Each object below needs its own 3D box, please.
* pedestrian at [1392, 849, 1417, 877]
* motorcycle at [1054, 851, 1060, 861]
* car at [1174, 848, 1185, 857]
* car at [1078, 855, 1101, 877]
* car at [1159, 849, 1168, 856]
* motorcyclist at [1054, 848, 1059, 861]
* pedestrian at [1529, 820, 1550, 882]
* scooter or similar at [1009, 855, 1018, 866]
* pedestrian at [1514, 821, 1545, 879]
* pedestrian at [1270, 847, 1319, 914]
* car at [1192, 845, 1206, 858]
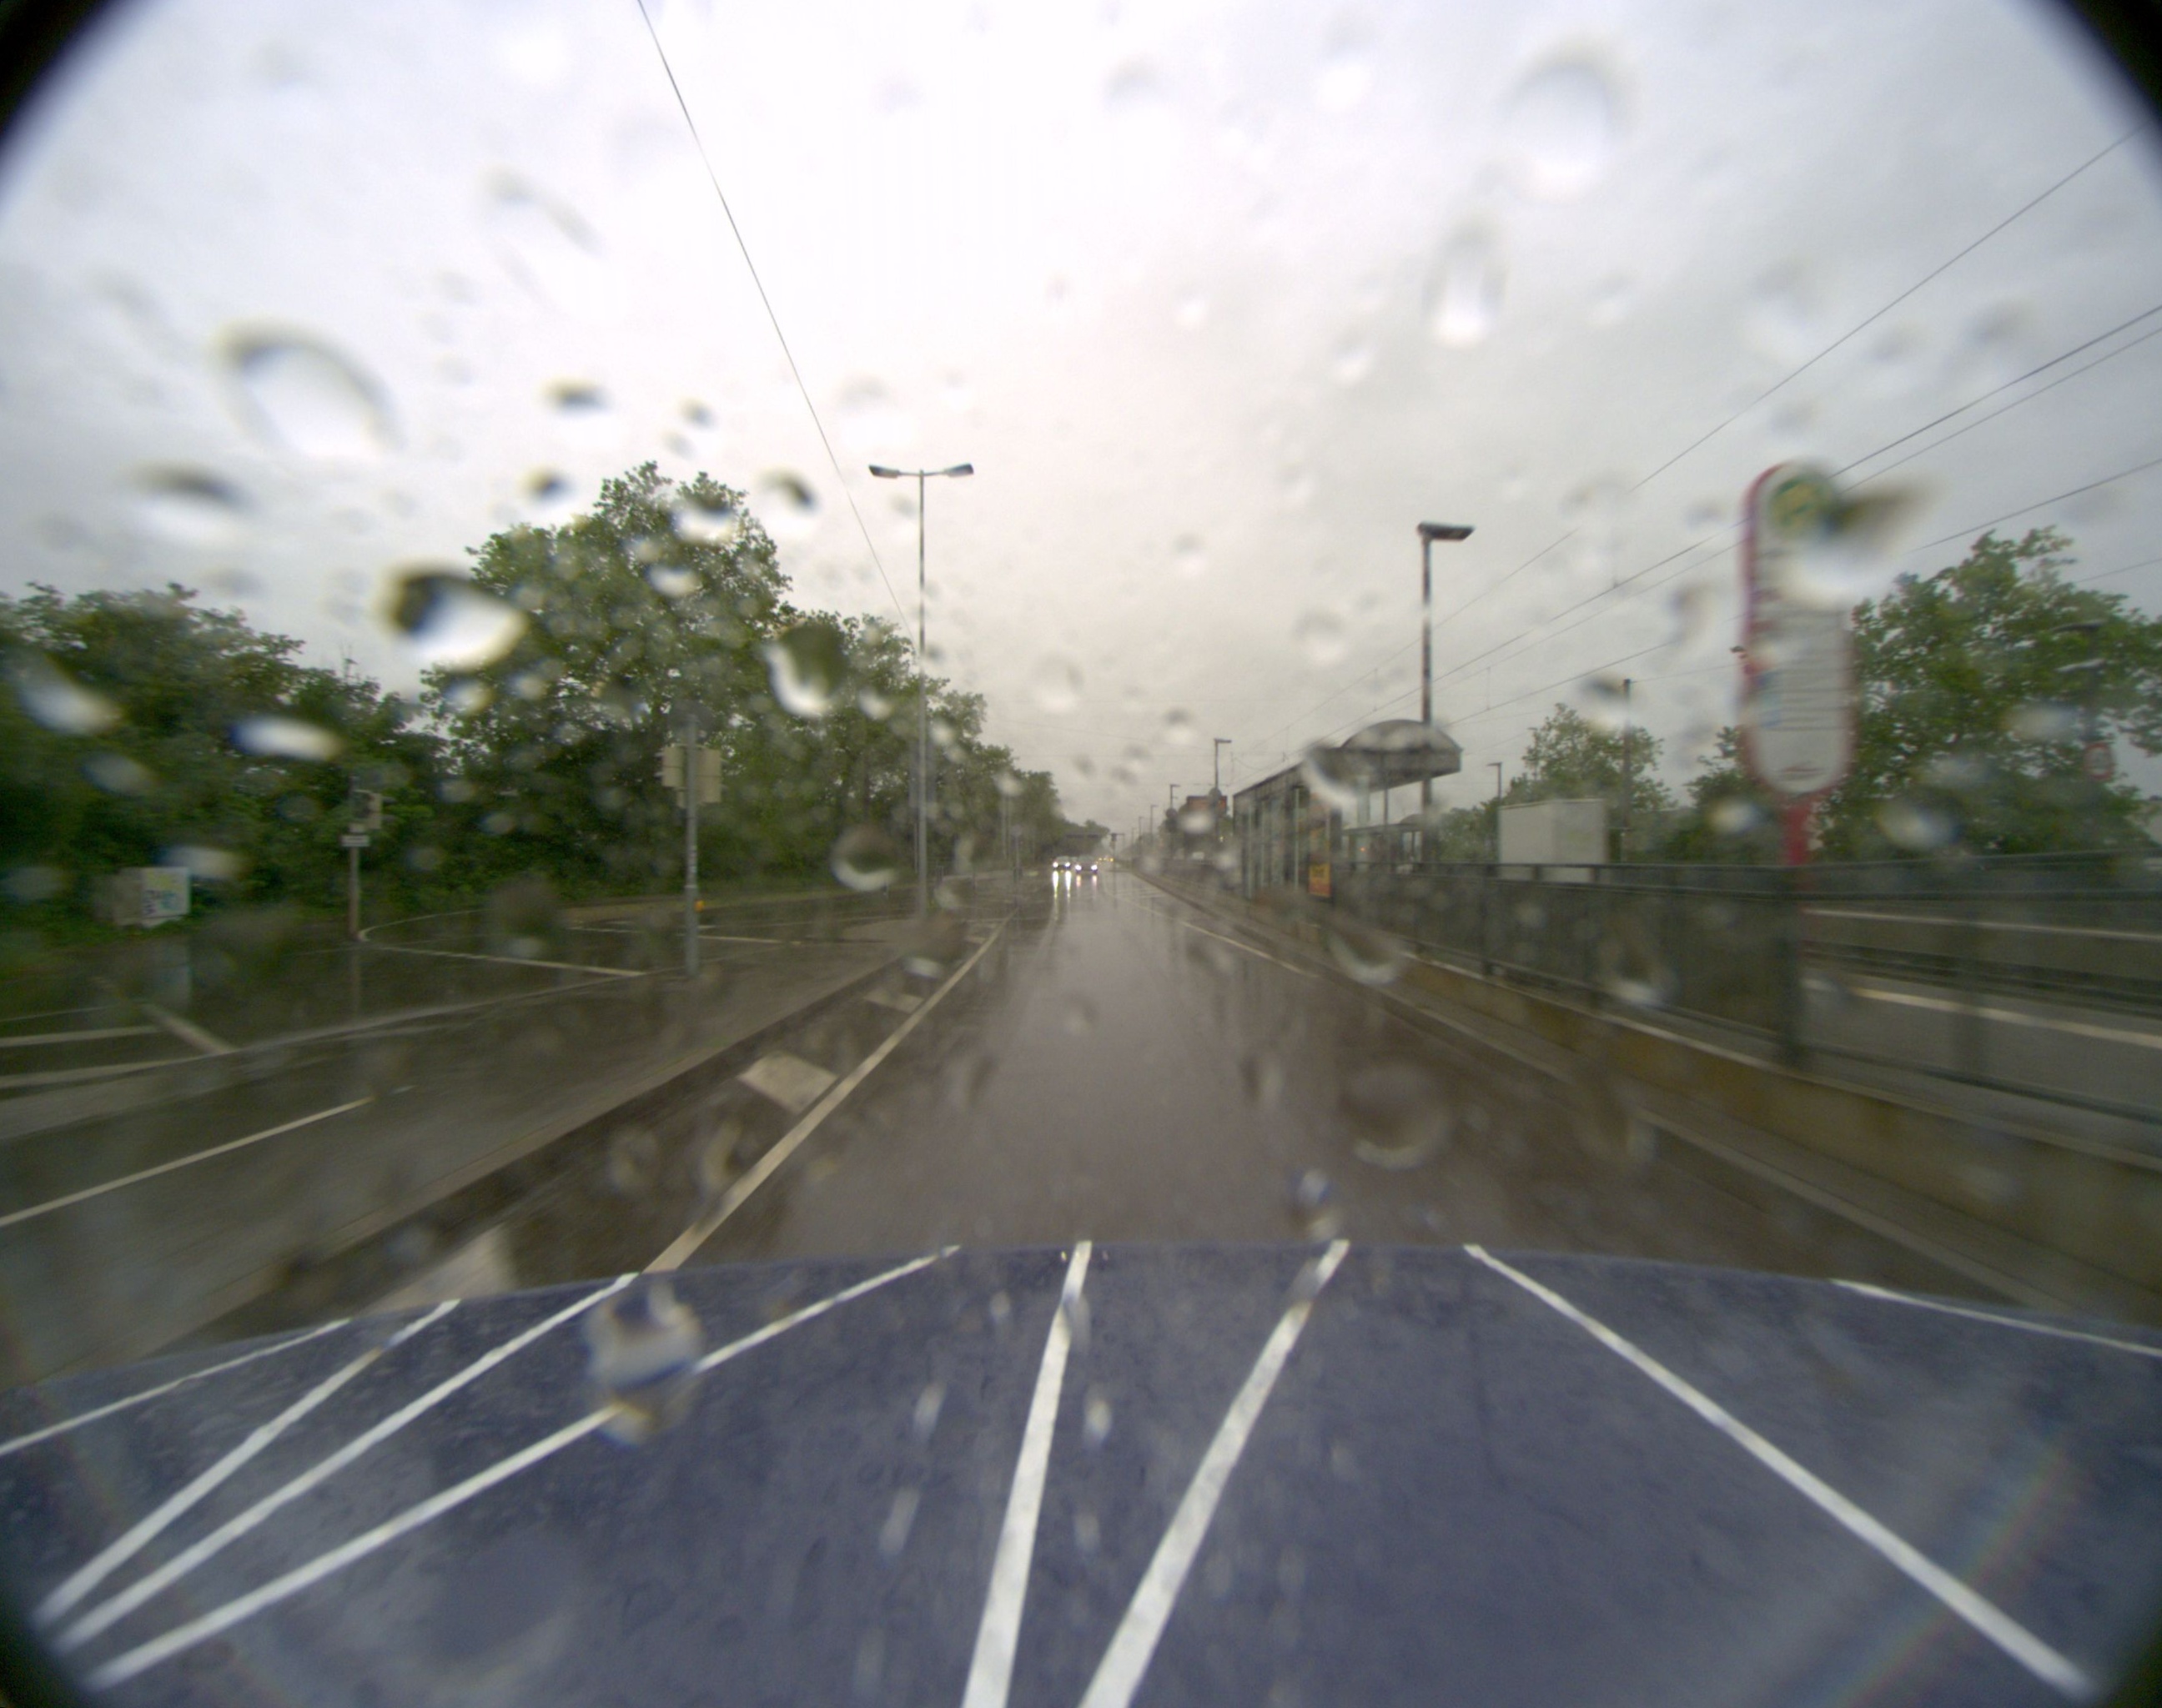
[{"bbox_3d":[15.667,0.440,36.801,0.833,1.308,0.858,-2,0,2],"label":"pedestrian"},{"bbox_3d":[-4.204,0.267,132.897,0.845,1.710,2.586,-1,0,2],"label":"motorcycle"},{"bbox_3d":[21.169,-0.359,163.307,1.998,2.002,4.753,-1,0,1],"label":"car"},{"bbox_3d":[0.803,1.073,70.010,1.998,2.002,4.000,-1,0,2],"label":"car"},{"bbox_3d":[22.012,-0.334,202.235,1.998,1.761,4.258,-1,0,2],"label":"car"},{"bbox_3d":[-4.241,0.003,132.624,0.762,2.246,0.916,-1,1,4],"label":"motorcyclist"},{"bbox_3d":[30.399,-0.219,50.416,1.169,4.006,1.522,0,1,29],"label":"pedestrian"},{"bbox_3d":[-7.710,0.750,86.673,0.761,1.285,1.647,-1,1,4],"label":"scooter or similar"},{"bbox_3d":[31.371,-0.266,53.159,1.173,4.006,1.518,-1,1,-9],"label":"pedestrian"},{"bbox_3d":[4.397,0.536,15.666,0.816,1.332,0.659,-1,1,1],"label":"pedestrian"},{"bbox_3d":[24.966,-0.549,161.107,2.125,2.697,5.739,-1,0,2],"label":"car"}]
